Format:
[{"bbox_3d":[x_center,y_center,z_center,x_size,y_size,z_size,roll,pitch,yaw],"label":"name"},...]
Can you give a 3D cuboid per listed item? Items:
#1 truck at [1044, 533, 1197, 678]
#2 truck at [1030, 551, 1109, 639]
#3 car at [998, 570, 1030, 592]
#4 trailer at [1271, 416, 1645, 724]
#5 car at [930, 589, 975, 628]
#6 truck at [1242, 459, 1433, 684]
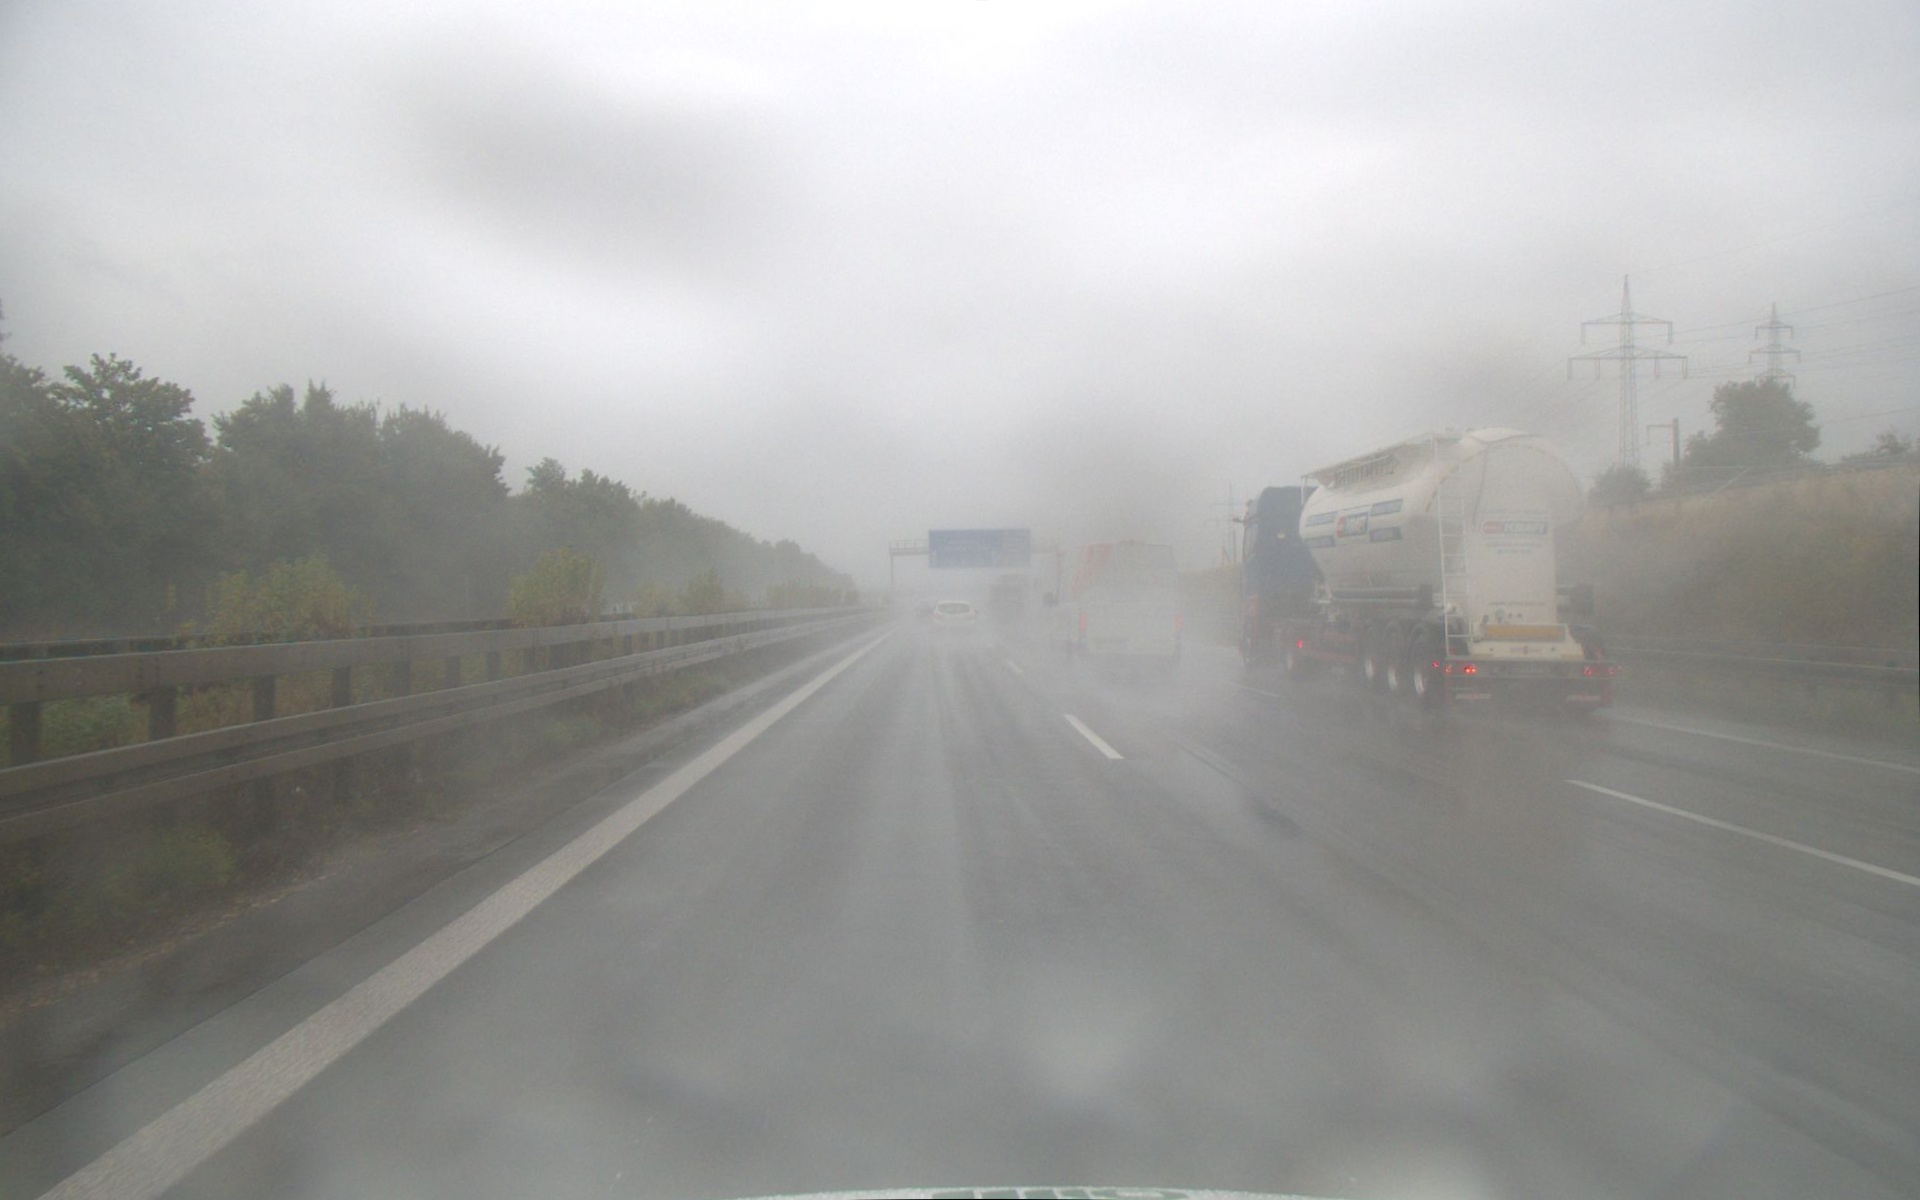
[{"bbox_3d":[3.008,0.076,32.298,2.370,2.536,5.559,1,0,0],"label":"truck"},{"bbox_3d":[6.227,-0.220,97.107,2.978,4.668,16.344,1,0,-2],"label":"truck"},{"bbox_3d":[5.135,-1.820,156.958,2.731,2.049,4.992,1,0,-1],"label":"car"},{"bbox_3d":[7.506,-0.439,26.991,2.447,3.950,11.063,1,0,-2],"label":"trailer"},{"bbox_3d":[-0.302,0.297,61.686,1.573,1.361,3.847,1,0,-1],"label":"car"},{"bbox_3d":[7.324,-0.542,32.754,2.446,4.053,5.074,1,0,-2],"label":"truck"}]
